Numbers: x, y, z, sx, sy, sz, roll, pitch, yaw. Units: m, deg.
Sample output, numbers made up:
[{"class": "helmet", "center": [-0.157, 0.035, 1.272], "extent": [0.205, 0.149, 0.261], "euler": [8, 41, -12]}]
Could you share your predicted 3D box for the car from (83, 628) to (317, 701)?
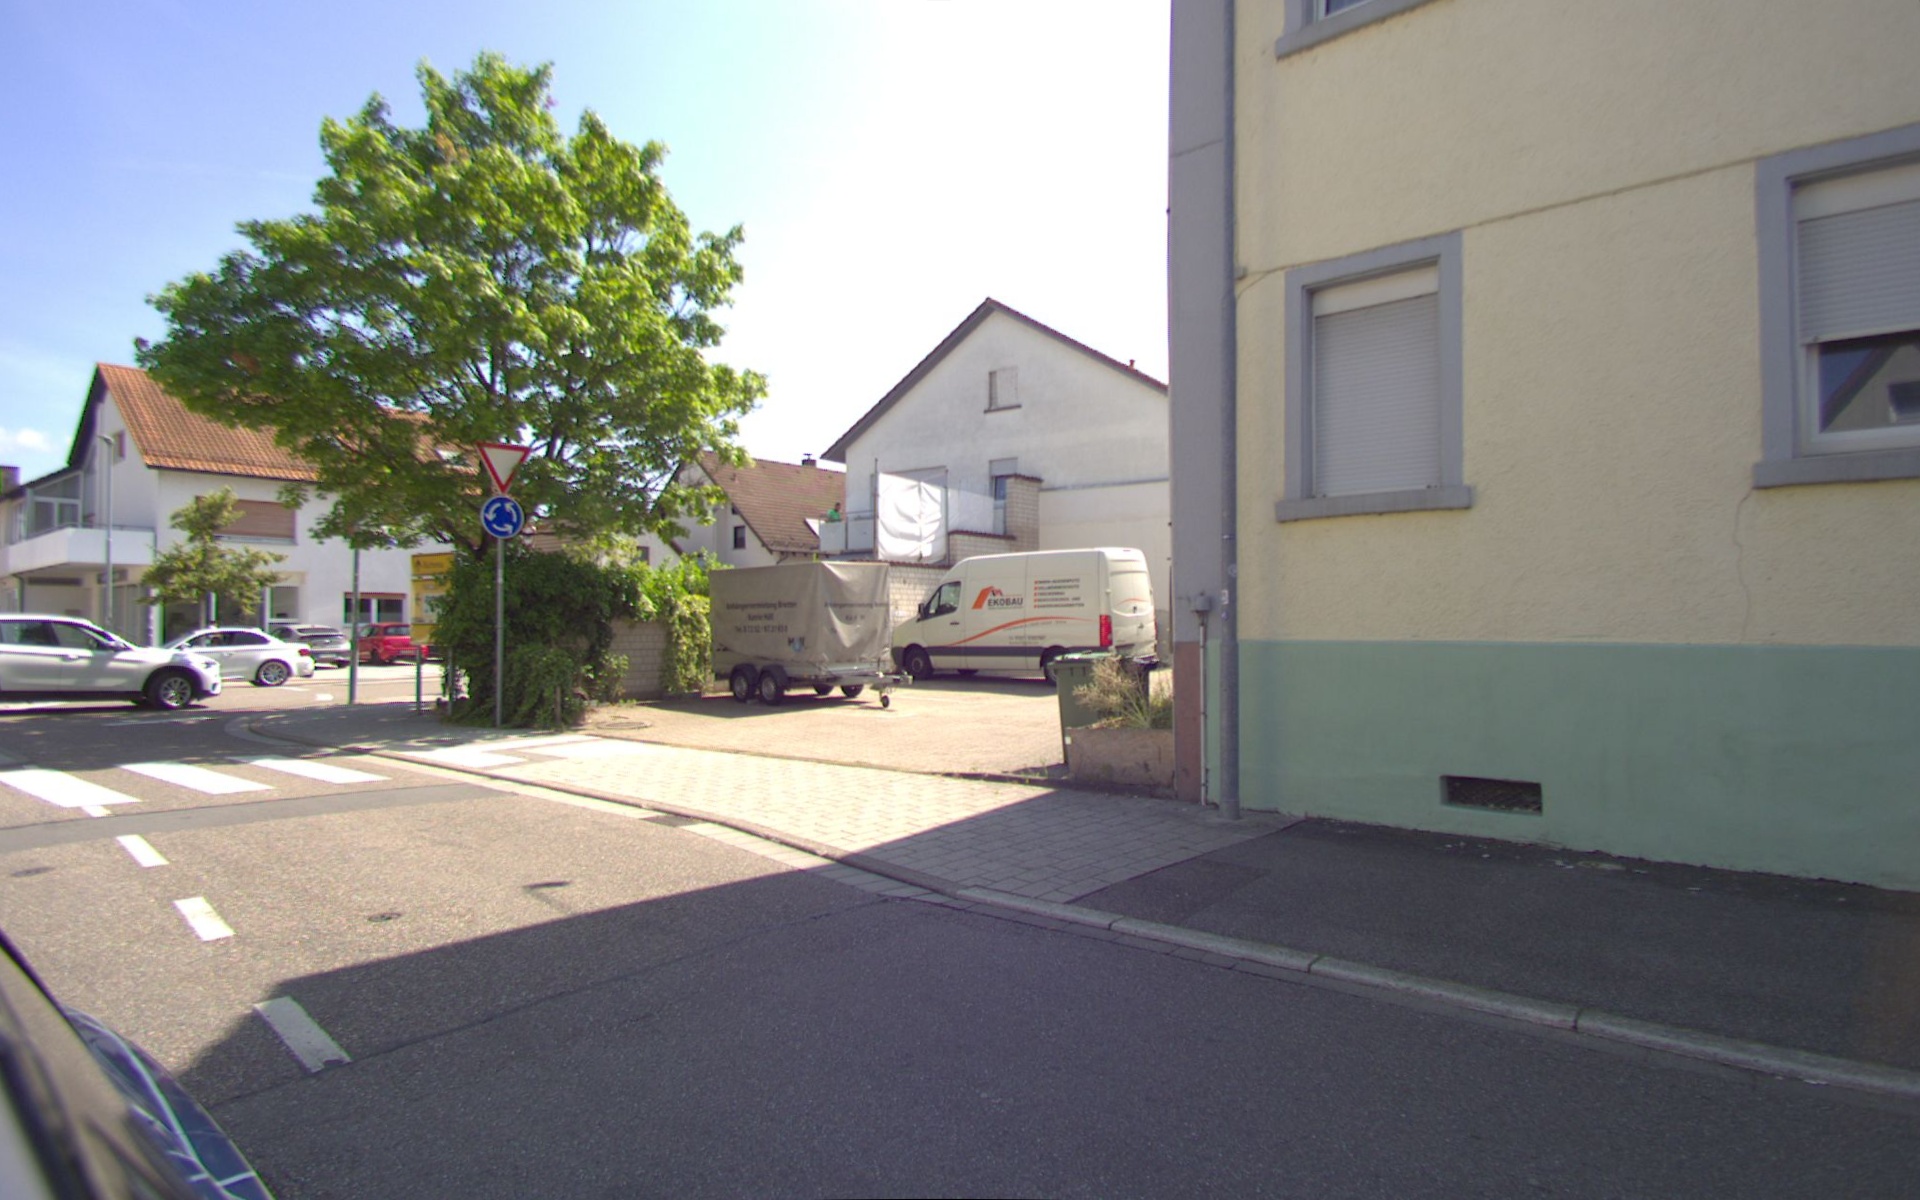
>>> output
[{"class": "car", "center": [-17.986, 1.508, 24.068], "extent": [4.269, 1.460, 1.882], "euler": [0, -5, -44]}]

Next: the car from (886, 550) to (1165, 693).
[{"class": "car", "center": [1.208, 0.437, 20.844], "extent": [5.641, 2.586, 1.918], "euler": [-2, 0, 39]}]

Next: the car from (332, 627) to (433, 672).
[{"class": "car", "center": [-20.641, 1.739, 36.125], "extent": [3.958, 1.488, 1.730], "euler": [-1, -1, 38]}]

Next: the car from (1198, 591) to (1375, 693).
[{"class": "car", "center": [6.719, 0.747, 20.497], "extent": [1.903, 1.772, 4.522], "euler": [-1, 0, 39]}]

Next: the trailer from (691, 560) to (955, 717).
[{"class": "trailer", "center": [-2.435, 0.616, 17.285], "extent": [4.518, 2.353, 1.860], "euler": [-2, 0, 39]}]

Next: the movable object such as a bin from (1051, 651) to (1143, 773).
[{"class": "movable object such as a bin", "center": [1.314, 1.044, 9.695], "extent": [0.658, 1.087, 0.593], "euler": [-2, -2, 41]}]

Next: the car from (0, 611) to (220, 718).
[{"class": "car", "center": [-15.075, 1.037, 16.727], "extent": [1.846, 1.658, 4.312], "euler": [-2, -3, 43]}]

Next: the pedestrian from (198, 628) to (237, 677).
[{"class": "pedestrian", "center": [-25.132, 1.752, 34.255], "extent": [0.940, 1.595, 0.760], "euler": [-1, 0, -28]}]

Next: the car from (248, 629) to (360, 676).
[{"class": "car", "center": [-22.204, 1.731, 34.199], "extent": [4.472, 1.462, 1.813], "euler": [-1, -1, 38]}]

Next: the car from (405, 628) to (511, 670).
[{"class": "car", "center": [-18.796, 1.789, 37.812], "extent": [4.472, 1.462, 1.813], "euler": [-1, -1, 38]}]

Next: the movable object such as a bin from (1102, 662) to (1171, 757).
[{"class": "movable object such as a bin", "center": [1.849, 1.128, 10.595], "extent": [0.547, 0.935, 0.474], "euler": [-2, -2, 41]}]
